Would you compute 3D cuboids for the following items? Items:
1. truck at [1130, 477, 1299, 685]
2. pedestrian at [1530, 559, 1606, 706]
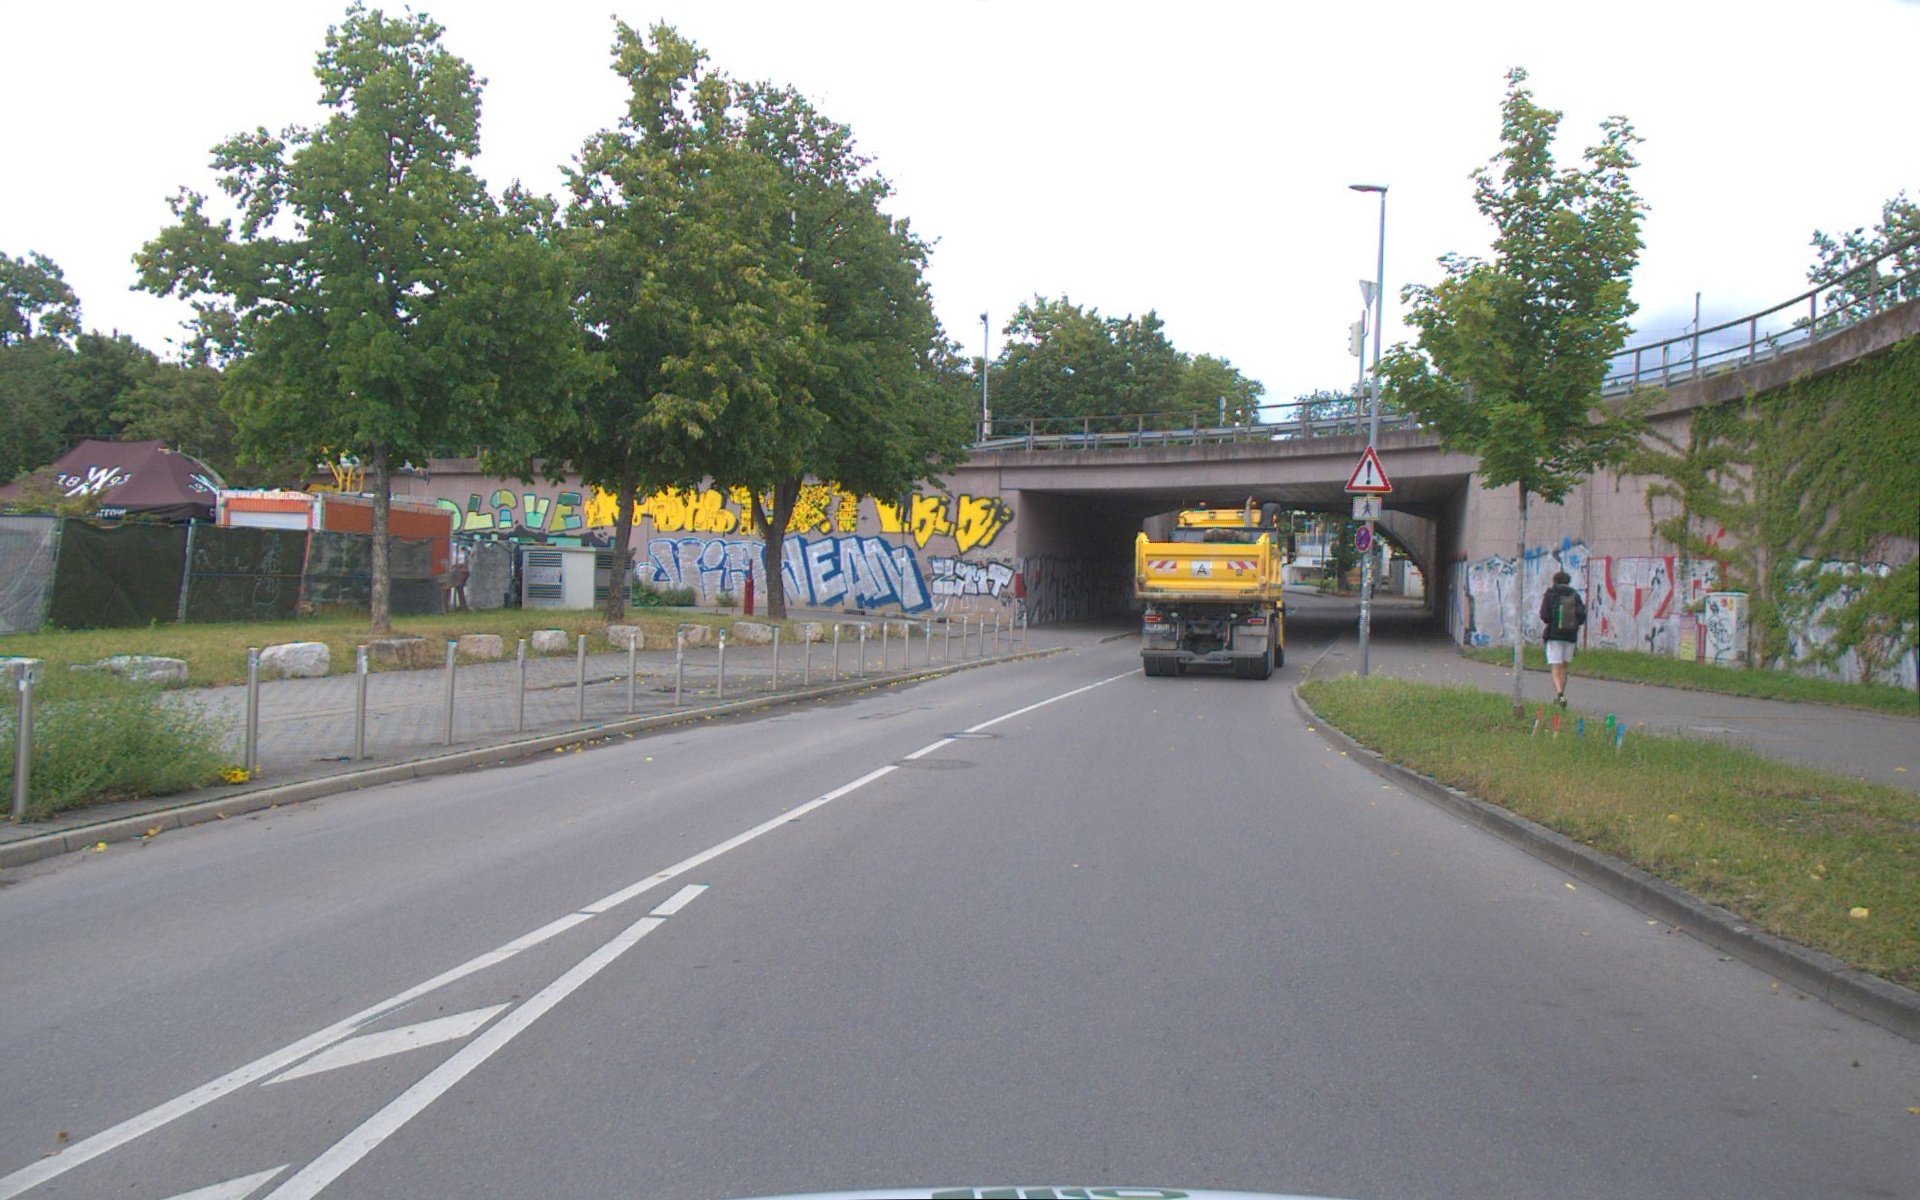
[{"bbox_3d":[5.510,-0.345,34.649,2.699,3.763,7.886,2,0,14],"label":"truck"},{"bbox_3d":[8.229,0.429,22.429,0.719,1.940,0.826,2,0,4],"label":"pedestrian"}]
